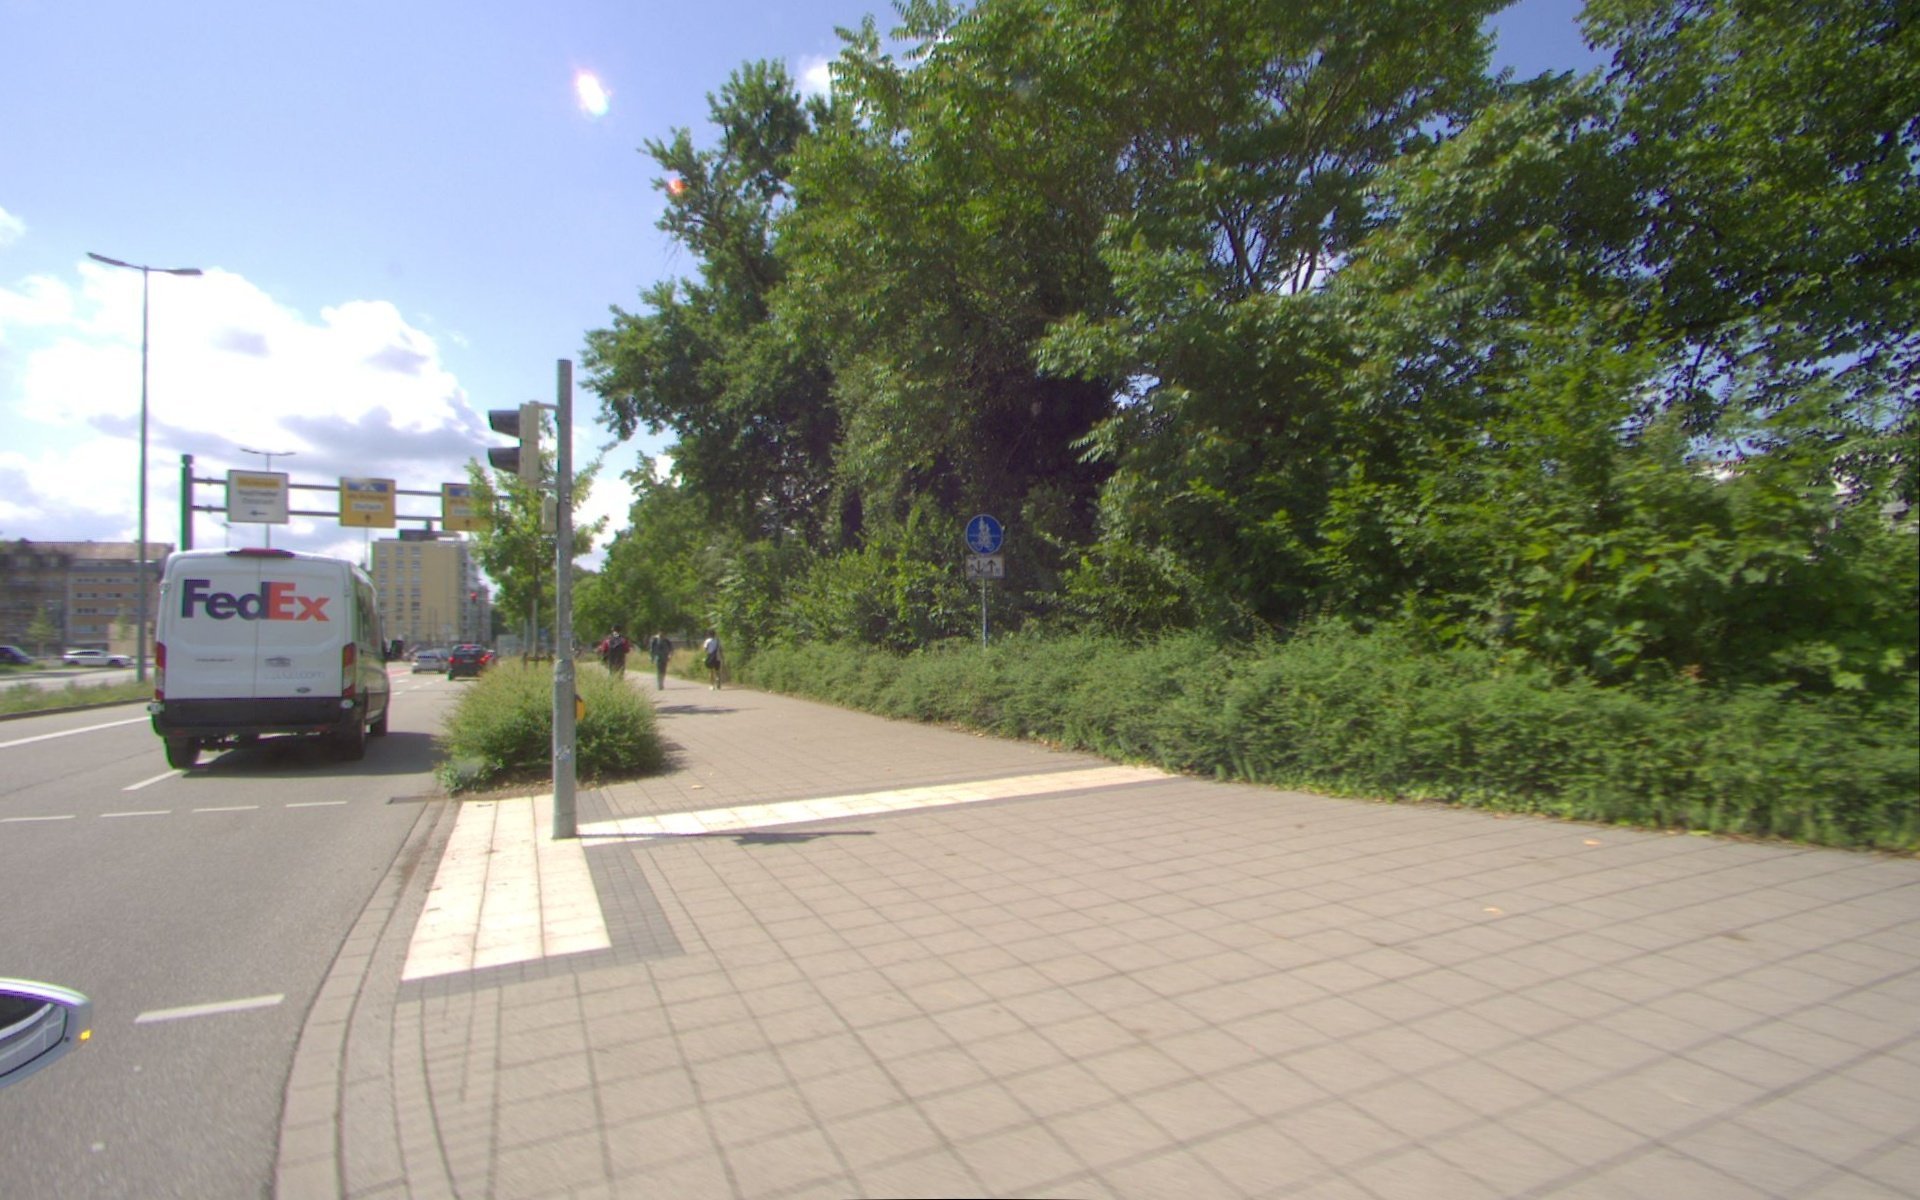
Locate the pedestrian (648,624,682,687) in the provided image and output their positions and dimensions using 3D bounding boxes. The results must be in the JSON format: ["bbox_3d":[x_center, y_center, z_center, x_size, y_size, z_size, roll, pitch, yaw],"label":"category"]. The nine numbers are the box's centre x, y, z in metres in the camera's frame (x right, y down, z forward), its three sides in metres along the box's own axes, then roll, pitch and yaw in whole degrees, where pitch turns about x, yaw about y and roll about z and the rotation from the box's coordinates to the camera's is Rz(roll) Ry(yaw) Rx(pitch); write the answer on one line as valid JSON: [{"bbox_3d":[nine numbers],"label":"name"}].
[{"bbox_3d":[-8.371,1.566,28.415,0.803,1.743,0.927,0,-2,-24],"label":"pedestrian"}]

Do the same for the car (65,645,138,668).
[{"bbox_3d":[-72.114,4.739,84.163,4.308,1.816,1.991,1,-3,-30],"label":"car"}]

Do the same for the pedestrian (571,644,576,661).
[{"bbox_3d":[-30.094,4.084,77.978,0.354,1.275,0.390,0,-2,-32],"label":"pedestrian"}]

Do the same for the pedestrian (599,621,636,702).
[{"bbox_3d":[-7.608,1.354,22.224,0.707,1.743,0.834,0,-2,-24],"label":"pedestrian"}]

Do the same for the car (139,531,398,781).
[{"bbox_3d":[-9.133,0.709,13.798,2.114,2.686,5.683,0,-2,-26],"label":"car"}]

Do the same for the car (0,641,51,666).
[{"bbox_3d":[-73.749,4.146,77.321,4.951,1.902,1.921,1,-2,-28],"label":"car"}]

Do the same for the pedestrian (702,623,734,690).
[{"bbox_3d":[-6.445,1.486,26.629,0.713,1.743,0.745,0,-2,-24],"label":"pedestrian"}]

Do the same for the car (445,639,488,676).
[{"bbox_3d":[-24.695,2.857,50.257,1.790,1.756,4.374,1,-3,-25],"label":"car"}]
